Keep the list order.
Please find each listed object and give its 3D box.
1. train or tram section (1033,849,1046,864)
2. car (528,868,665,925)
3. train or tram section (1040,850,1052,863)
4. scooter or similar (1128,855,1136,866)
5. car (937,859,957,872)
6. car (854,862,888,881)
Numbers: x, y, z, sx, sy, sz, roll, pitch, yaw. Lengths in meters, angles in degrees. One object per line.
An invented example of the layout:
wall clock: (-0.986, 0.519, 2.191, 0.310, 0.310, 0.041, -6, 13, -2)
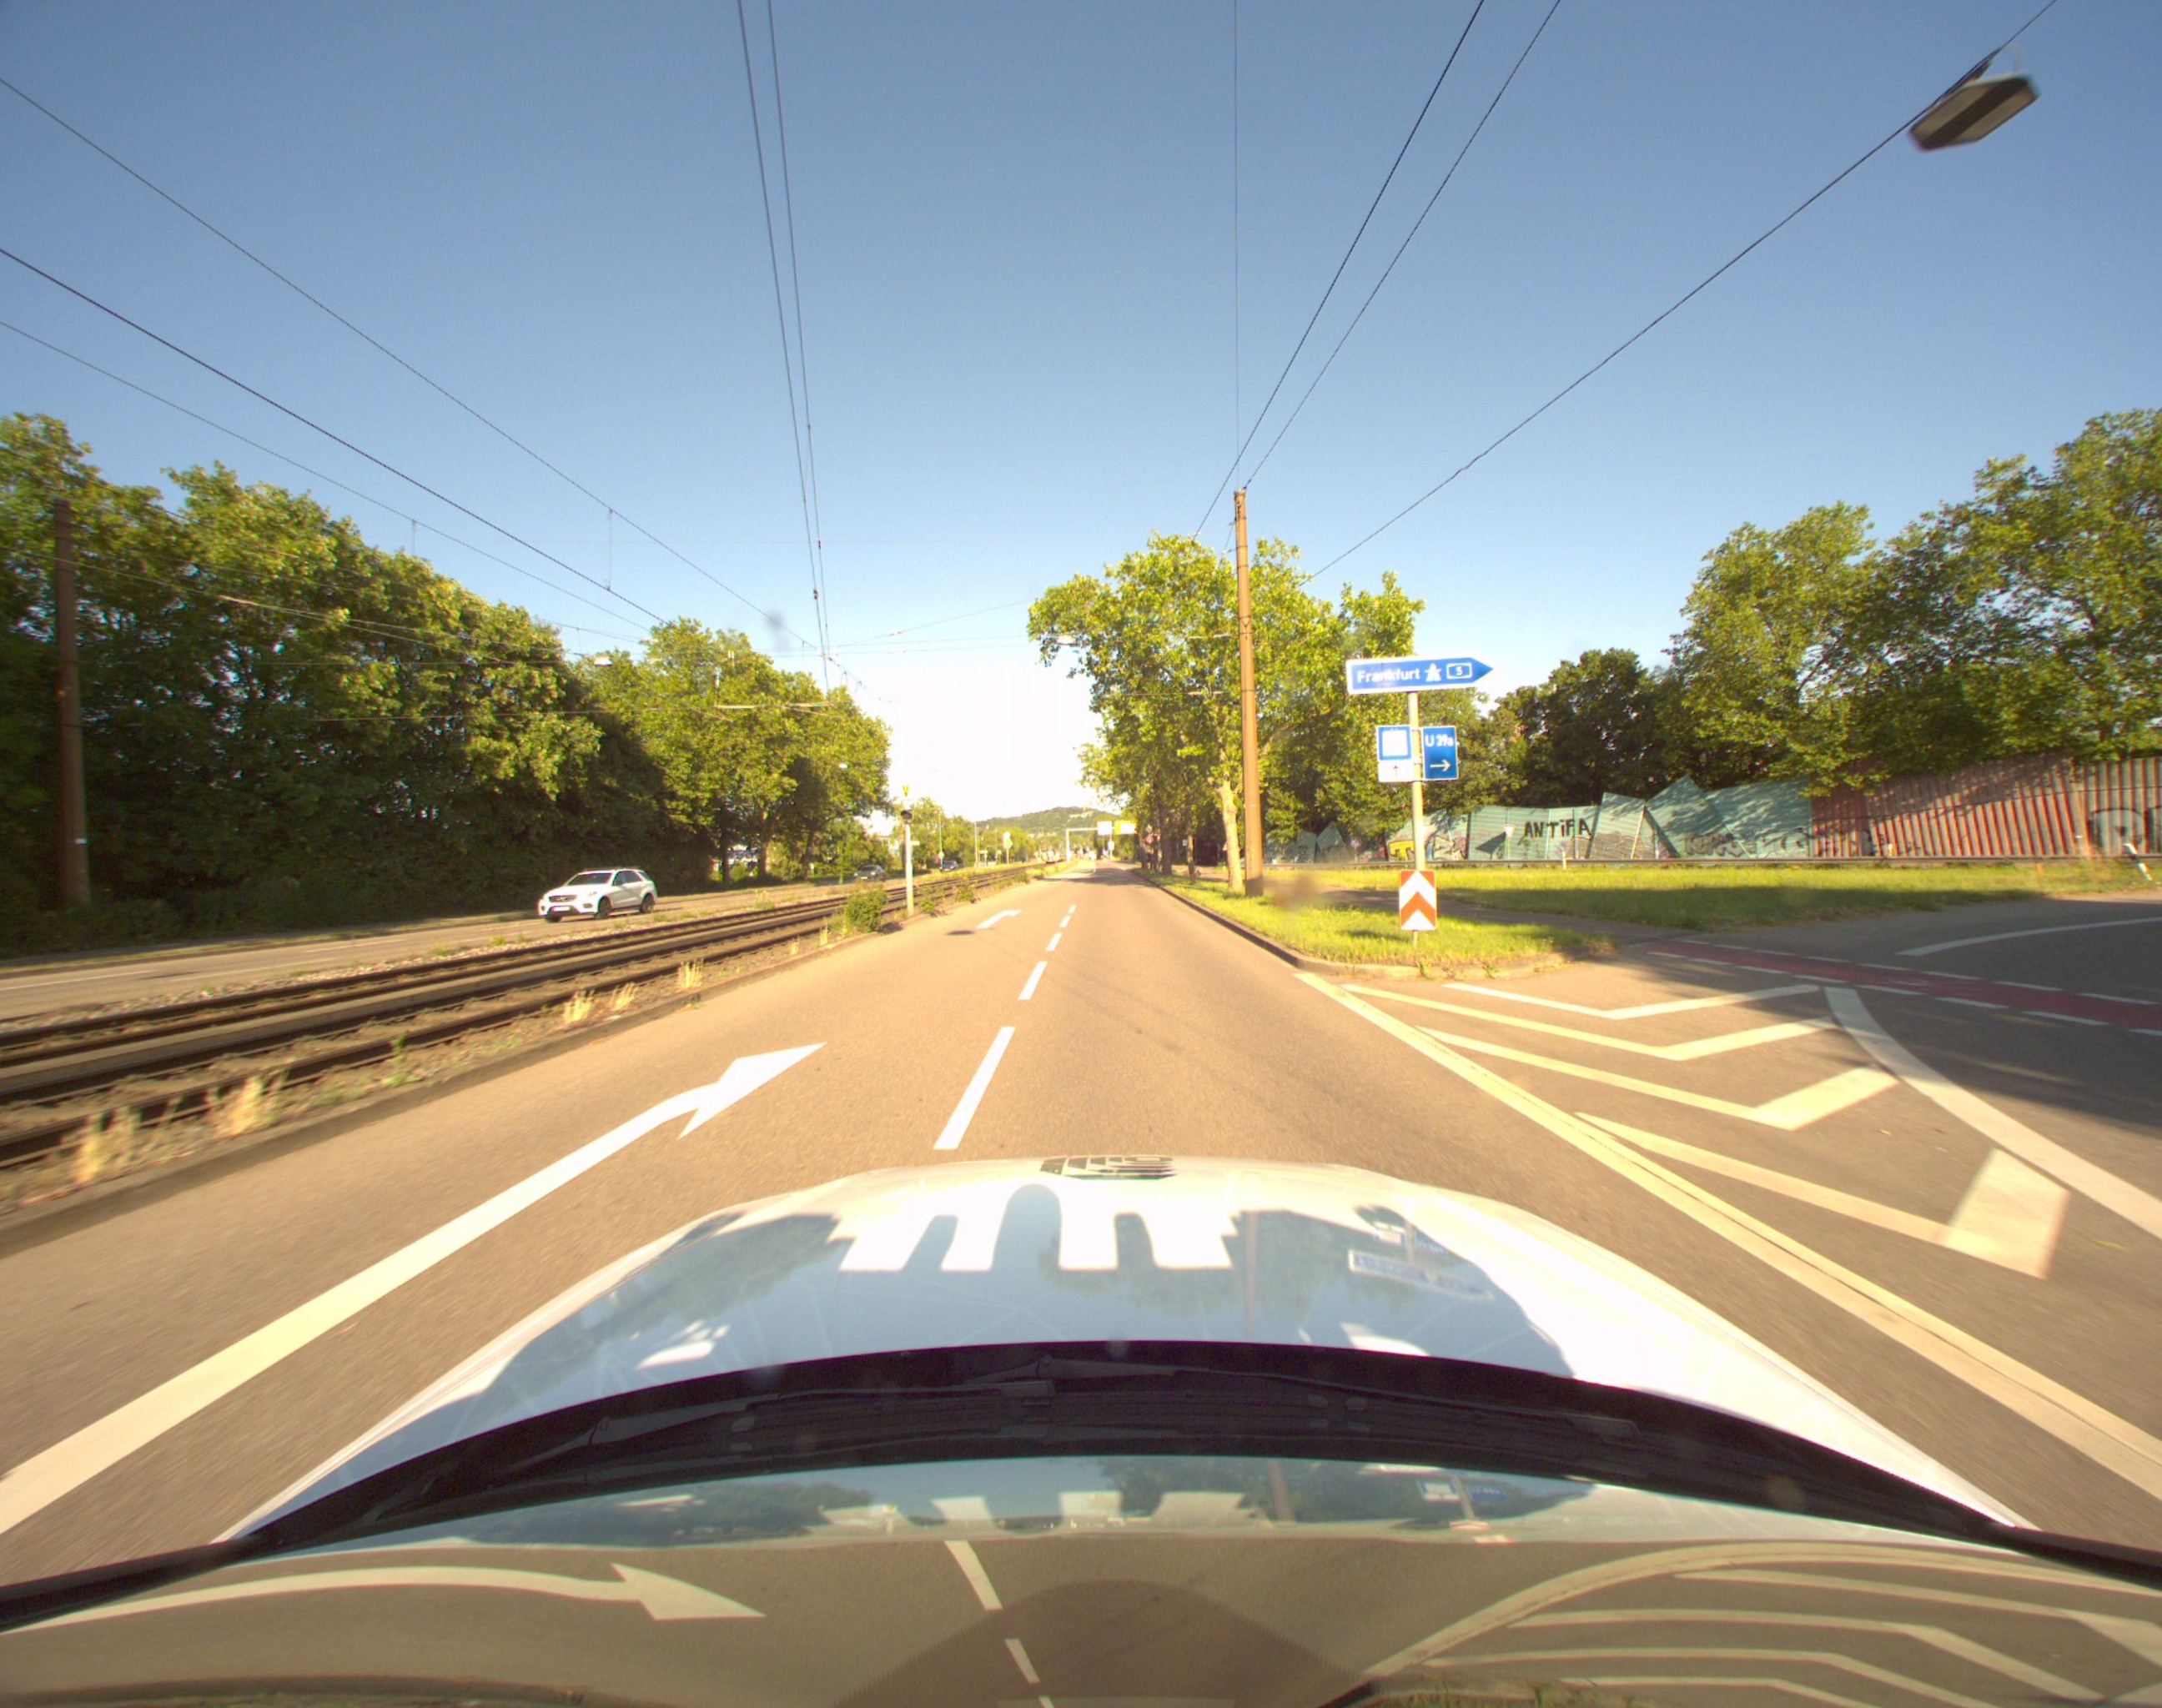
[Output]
train or tram section: (-10.932, 0.714, 215.453, 2.795, 3.903, 12.330, -1, -1, 0)
car: (-17.182, 1.429, 29.246, 1.957, 1.707, 4.941, -4, -1, -1)
train or tram section: (-10.827, 0.758, 252.201, 2.814, 3.950, 12.706, -1, 0, 0)
scooter or similar: (13.657, 1.762, 217.672, 1.675, 2.716, 4.869, -1, 0, 1)
car: (-17.925, 1.522, 109.170, 1.893, 1.694, 4.938, -4, 0, -1)
car: (-17.684, 1.451, 68.658, 1.706, 1.468, 4.346, -4, 0, -1)
